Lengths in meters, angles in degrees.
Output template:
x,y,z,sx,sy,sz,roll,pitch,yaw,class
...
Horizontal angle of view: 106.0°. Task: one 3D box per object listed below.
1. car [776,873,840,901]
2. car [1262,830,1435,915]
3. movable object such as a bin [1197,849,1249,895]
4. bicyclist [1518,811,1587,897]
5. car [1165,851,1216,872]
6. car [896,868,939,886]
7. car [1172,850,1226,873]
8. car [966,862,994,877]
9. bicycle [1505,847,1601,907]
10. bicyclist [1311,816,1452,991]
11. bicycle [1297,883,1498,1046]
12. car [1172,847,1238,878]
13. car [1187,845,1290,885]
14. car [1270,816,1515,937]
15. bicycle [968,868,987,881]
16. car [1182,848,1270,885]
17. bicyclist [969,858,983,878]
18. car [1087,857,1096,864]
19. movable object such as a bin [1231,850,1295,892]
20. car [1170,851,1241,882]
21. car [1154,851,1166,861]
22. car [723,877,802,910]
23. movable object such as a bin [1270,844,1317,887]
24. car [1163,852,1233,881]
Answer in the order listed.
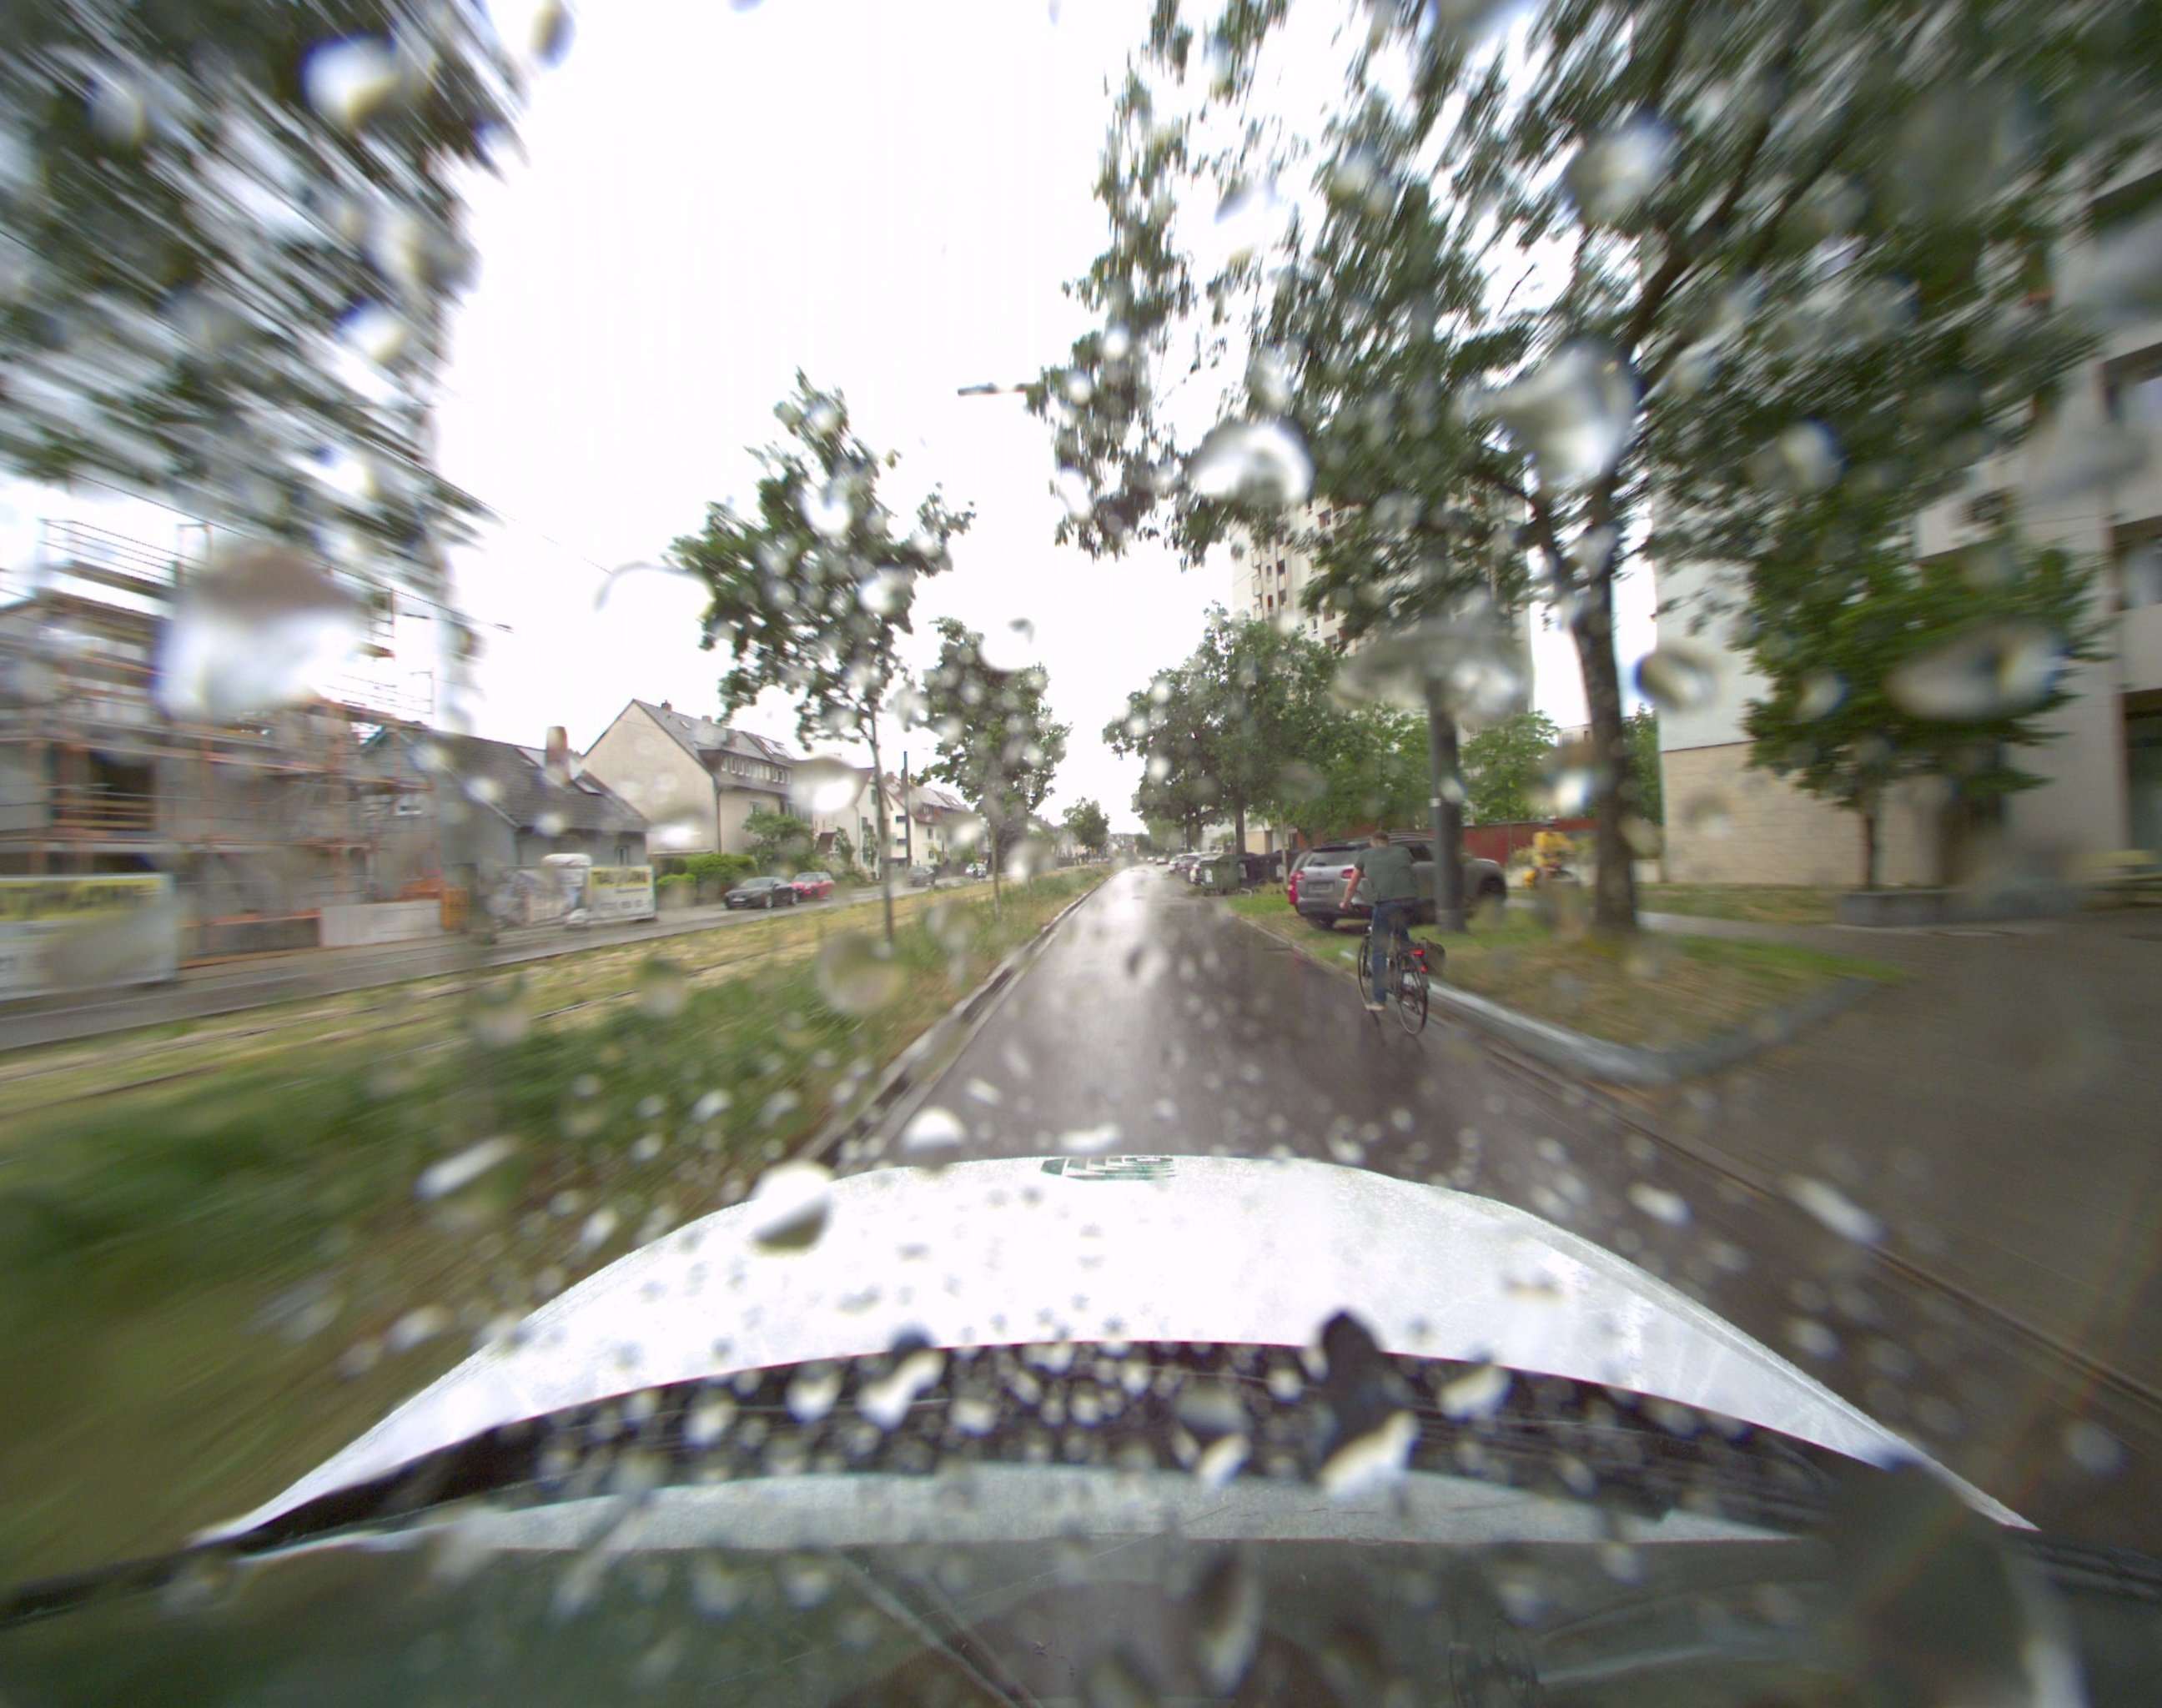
x,y,z,sx,sy,sz,roll,pitch,yaw,class
-13.623,1.622,40.865,1.667,1.244,3.859,-1,0,4,car
6.268,0.395,18.959,3.902,1.567,1.714,-5,1,-34,car
5.014,0.637,28.811,1.129,1.457,1.392,-8,1,-18,movable object such as a bin
9.207,0.008,15.941,0.732,1.594,0.945,-3,0,2,bicyclist
8.877,0.578,65.905,4.057,1.513,1.568,-3,0,-34,car
-12.285,1.716,61.566,1.887,1.244,4.695,-1,0,6,car
9.112,0.544,62.966,4.057,1.541,1.568,-3,0,-34,car
-10.364,1.569,83.765,1.887,1.469,4.695,-1,0,6,car
9.240,0.427,16.056,0.732,1.056,2.052,-3,0,3,bicycle
2.695,0.420,7.420,0.807,1.432,1.060,-3,0,-1,bicyclist
2.715,0.876,7.382,0.807,1.096,2.517,-3,0,0,bicycle
7.850,0.531,51.342,4.057,1.703,1.568,-3,0,-34,car
6.906,0.463,35.677,4.242,1.519,1.859,-3,0,-32,car
5.848,0.352,15.208,4.161,1.719,1.981,-6,1,-30,car
-9.165,1.791,72.339,1.014,1.027,3.199,-3,0,3,bicycle
6.946,0.572,38.908,4.055,1.519,1.569,-3,0,-32,car
-9.239,1.259,71.694,1.014,1.685,1.092,-3,0,3,bicyclist
2.649,1.651,202.366,1.835,1.672,4.004,-3,0,3,car
6.489,0.607,29.087,1.686,1.326,1.392,-5,0,-18,movable object such as a bin
6.849,0.679,44.555,4.063,1.443,1.566,-3,0,-41,car
13.211,0.382,135.938,1.825,1.586,4.004,-3,0,3,car
-13.860,1.702,35.680,1.656,1.244,4.075,-1,0,3,car
7.985,0.435,30.612,1.250,1.520,1.080,-4,0,-25,movable object such as a bin
6.995,0.732,48.397,4.057,1.443,1.568,-3,0,-34,car
